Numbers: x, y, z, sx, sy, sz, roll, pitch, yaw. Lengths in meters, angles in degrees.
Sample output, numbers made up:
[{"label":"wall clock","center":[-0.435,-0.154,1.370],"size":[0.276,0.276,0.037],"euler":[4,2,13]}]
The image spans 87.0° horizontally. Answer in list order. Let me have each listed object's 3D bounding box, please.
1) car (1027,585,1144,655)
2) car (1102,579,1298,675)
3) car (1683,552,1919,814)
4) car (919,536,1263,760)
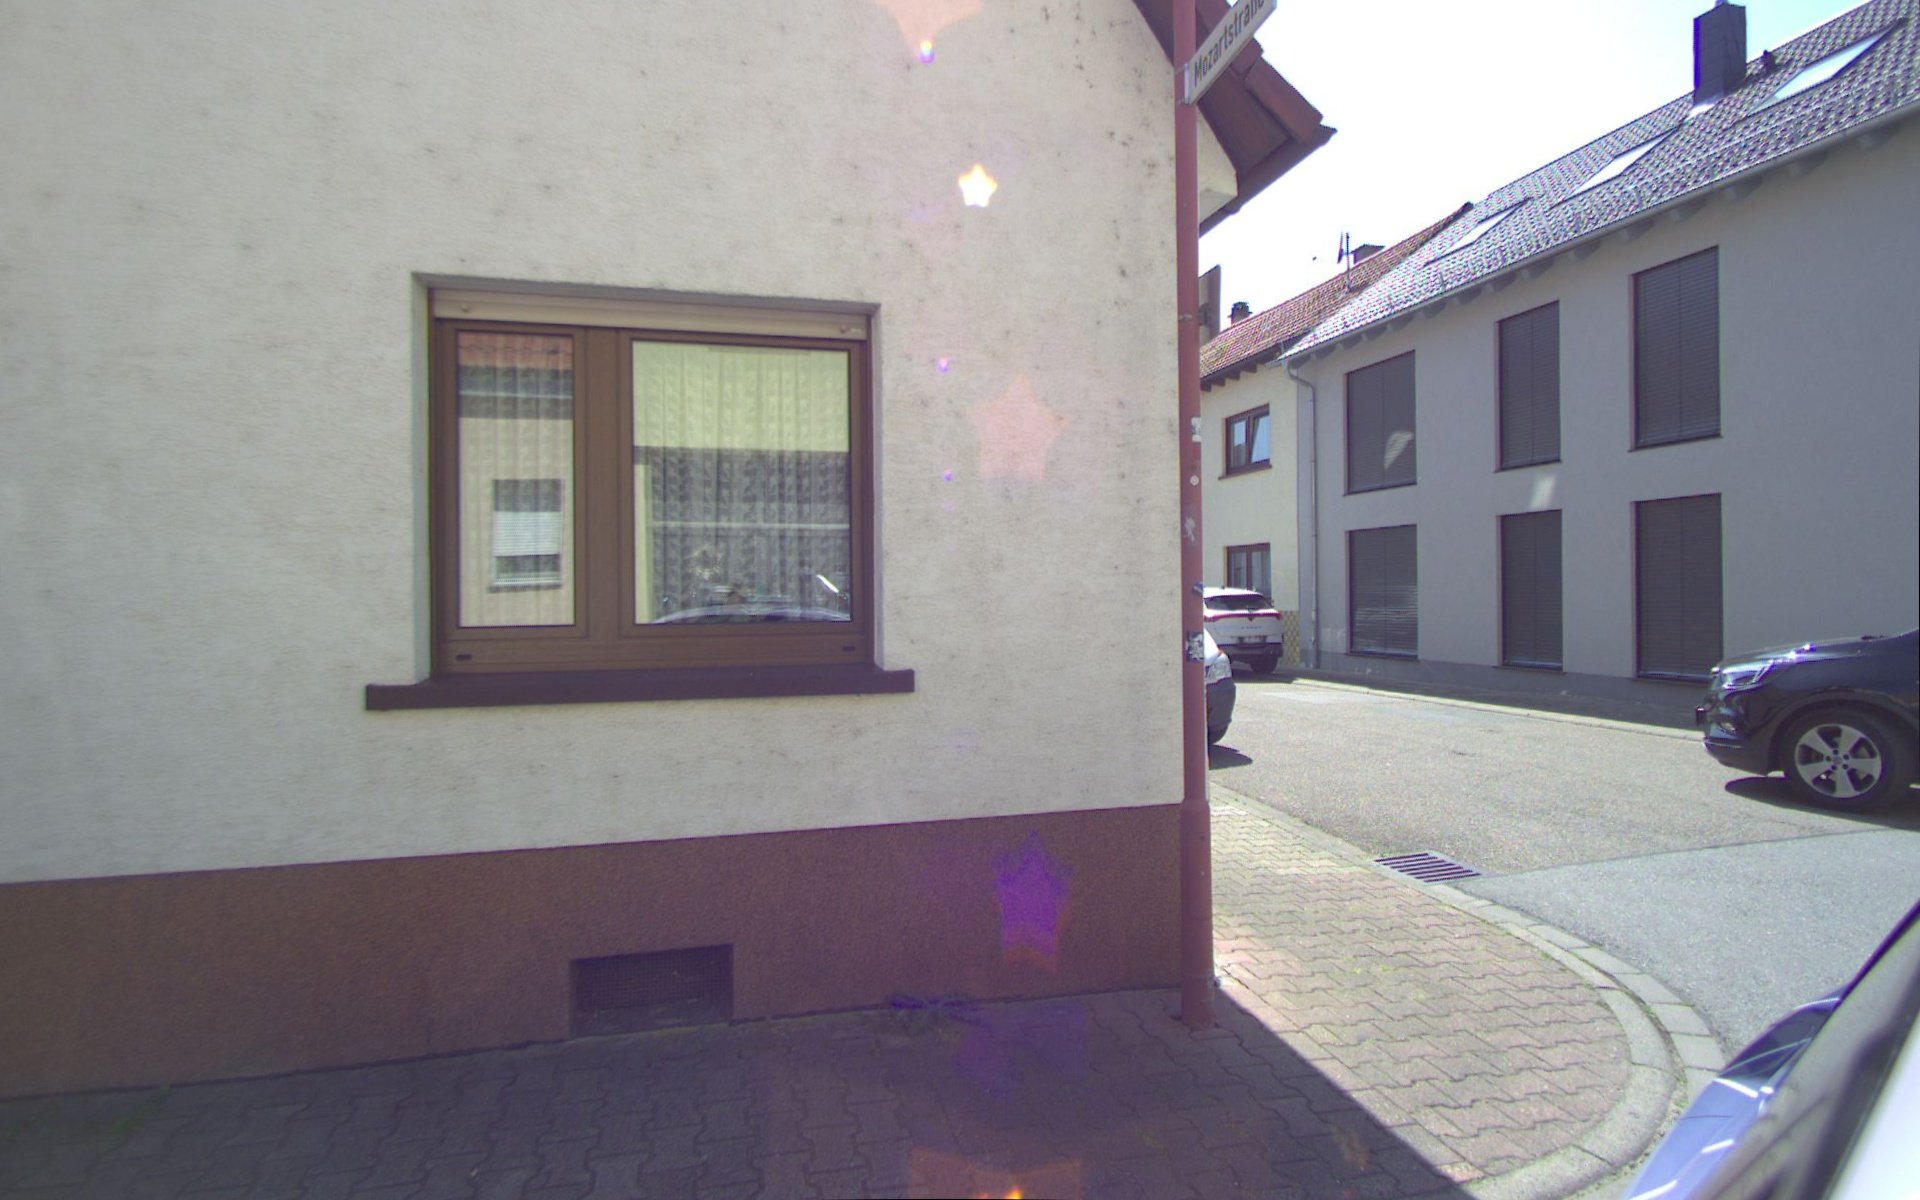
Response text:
[{"label":"car","center":[3.083,0.469,25.740],"size":[1.692,1.636,3.997],"euler":[0,0,-13]},{"label":"car","center":[4.456,0.457,19.566],"size":[1.742,1.636,4.358],"euler":[0,0,-16]},{"label":"car","center":[7.139,0.531,6.107],"size":[1.733,1.603,4.271],"euler":[1,0,-43]},{"label":"car","center":[1.072,0.372,11.340],"size":[1.977,1.862,5.276],"euler":[-2,1,-14]}]
